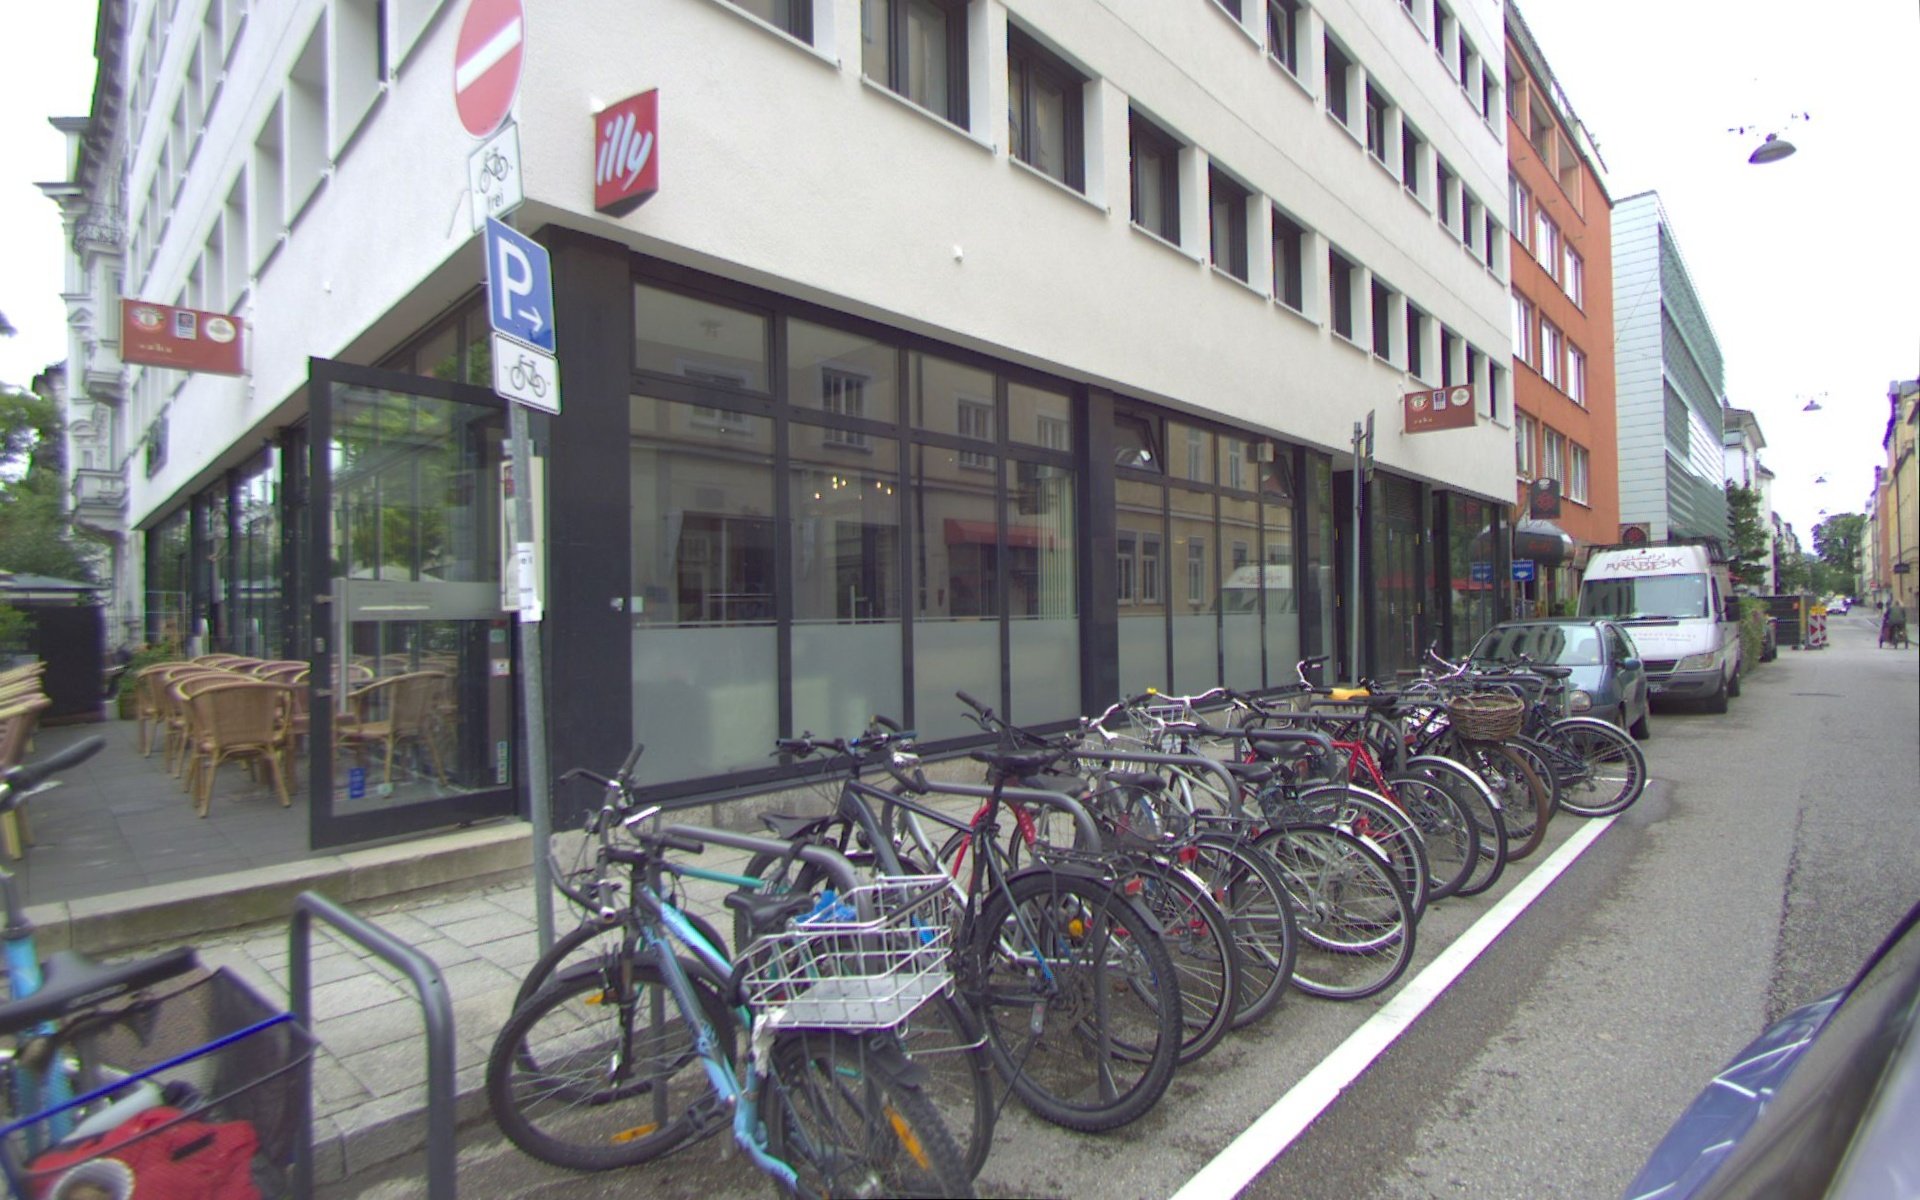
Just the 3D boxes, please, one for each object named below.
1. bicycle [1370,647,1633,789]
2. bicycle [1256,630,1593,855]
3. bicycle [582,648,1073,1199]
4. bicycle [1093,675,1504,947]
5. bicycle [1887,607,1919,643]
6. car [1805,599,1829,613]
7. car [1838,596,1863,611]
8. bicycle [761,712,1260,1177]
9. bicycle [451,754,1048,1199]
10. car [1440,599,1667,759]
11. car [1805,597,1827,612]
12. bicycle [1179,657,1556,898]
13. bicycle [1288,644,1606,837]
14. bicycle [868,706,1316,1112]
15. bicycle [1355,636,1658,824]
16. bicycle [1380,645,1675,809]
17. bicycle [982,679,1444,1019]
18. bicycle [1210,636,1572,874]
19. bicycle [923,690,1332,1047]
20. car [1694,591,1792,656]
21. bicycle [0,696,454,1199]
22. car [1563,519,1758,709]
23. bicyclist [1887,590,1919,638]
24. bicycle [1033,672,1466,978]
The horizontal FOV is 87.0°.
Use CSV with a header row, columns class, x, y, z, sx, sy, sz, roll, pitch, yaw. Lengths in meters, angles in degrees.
class,x,y,z,sx,sy,sz,roll,pitch,yaw
bicycle,4.574,0.979,8.655,1.870,1.094,0.481,-5,-5,40
bicycle,2.901,0.817,6.462,1.871,1.219,0.571,-1,-1,40
bicycle,-0.432,0.755,2.795,1.446,1.223,0.390,-2,-2,35
bicycle,1.635,0.957,5.118,1.870,1.065,0.556,-2,0,39
bicycle,35.089,0.897,37.587,0.931,1.273,2.378,-1,0,41
car,80.046,0.555,94.545,1.619,1.282,4.265,-2,-1,41
car,97.286,0.395,110.564,1.991,1.613,4.310,-2,-1,41
bicycle,0.072,0.979,3.377,1.737,1.094,0.445,-2,-3,39
bicycle,-0.545,0.961,2.291,1.446,1.083,0.457,-2,-2,35
car,6.696,0.751,11.265,1.578,1.483,3.500,-2,-1,40
car,94.389,0.474,111.562,1.787,1.579,3.941,-2,-1,41
bicycle,2.162,0.883,5.574,1.870,1.109,0.433,-2,-3,39
bicycle,3.327,0.919,7.048,1.870,1.172,0.557,-4,-4,40
bicycle,0.382,0.975,3.645,1.671,1.094,0.331,-2,-3,39
bicycle,3.934,0.873,7.403,1.871,1.220,0.481,-2,-3,41
bicycle,4.292,0.927,7.768,1.870,1.123,0.481,-4,-4,40
bicycle,0.952,0.911,4.225,1.870,1.094,0.402,-2,-3,39
bicycle,2.486,0.822,6.004,1.890,1.185,0.558,-1,-1,40
bicycle,0.580,0.935,3.979,1.609,1.094,0.372,-2,-3,39
car,22.800,0.657,29.421,1.823,1.732,4.321,-3,-2,43
bicycle,-1.339,0.851,1.673,1.456,1.302,0.438,-3,-2,44
car,11.539,0.232,16.447,1.917,2.539,5.908,-4,-3,40
bicyclist,34.805,0.500,37.263,0.925,1.743,1.083,-1,-1,42
bicycle,1.210,0.901,4.575,1.870,1.094,0.396,-2,-3,39
